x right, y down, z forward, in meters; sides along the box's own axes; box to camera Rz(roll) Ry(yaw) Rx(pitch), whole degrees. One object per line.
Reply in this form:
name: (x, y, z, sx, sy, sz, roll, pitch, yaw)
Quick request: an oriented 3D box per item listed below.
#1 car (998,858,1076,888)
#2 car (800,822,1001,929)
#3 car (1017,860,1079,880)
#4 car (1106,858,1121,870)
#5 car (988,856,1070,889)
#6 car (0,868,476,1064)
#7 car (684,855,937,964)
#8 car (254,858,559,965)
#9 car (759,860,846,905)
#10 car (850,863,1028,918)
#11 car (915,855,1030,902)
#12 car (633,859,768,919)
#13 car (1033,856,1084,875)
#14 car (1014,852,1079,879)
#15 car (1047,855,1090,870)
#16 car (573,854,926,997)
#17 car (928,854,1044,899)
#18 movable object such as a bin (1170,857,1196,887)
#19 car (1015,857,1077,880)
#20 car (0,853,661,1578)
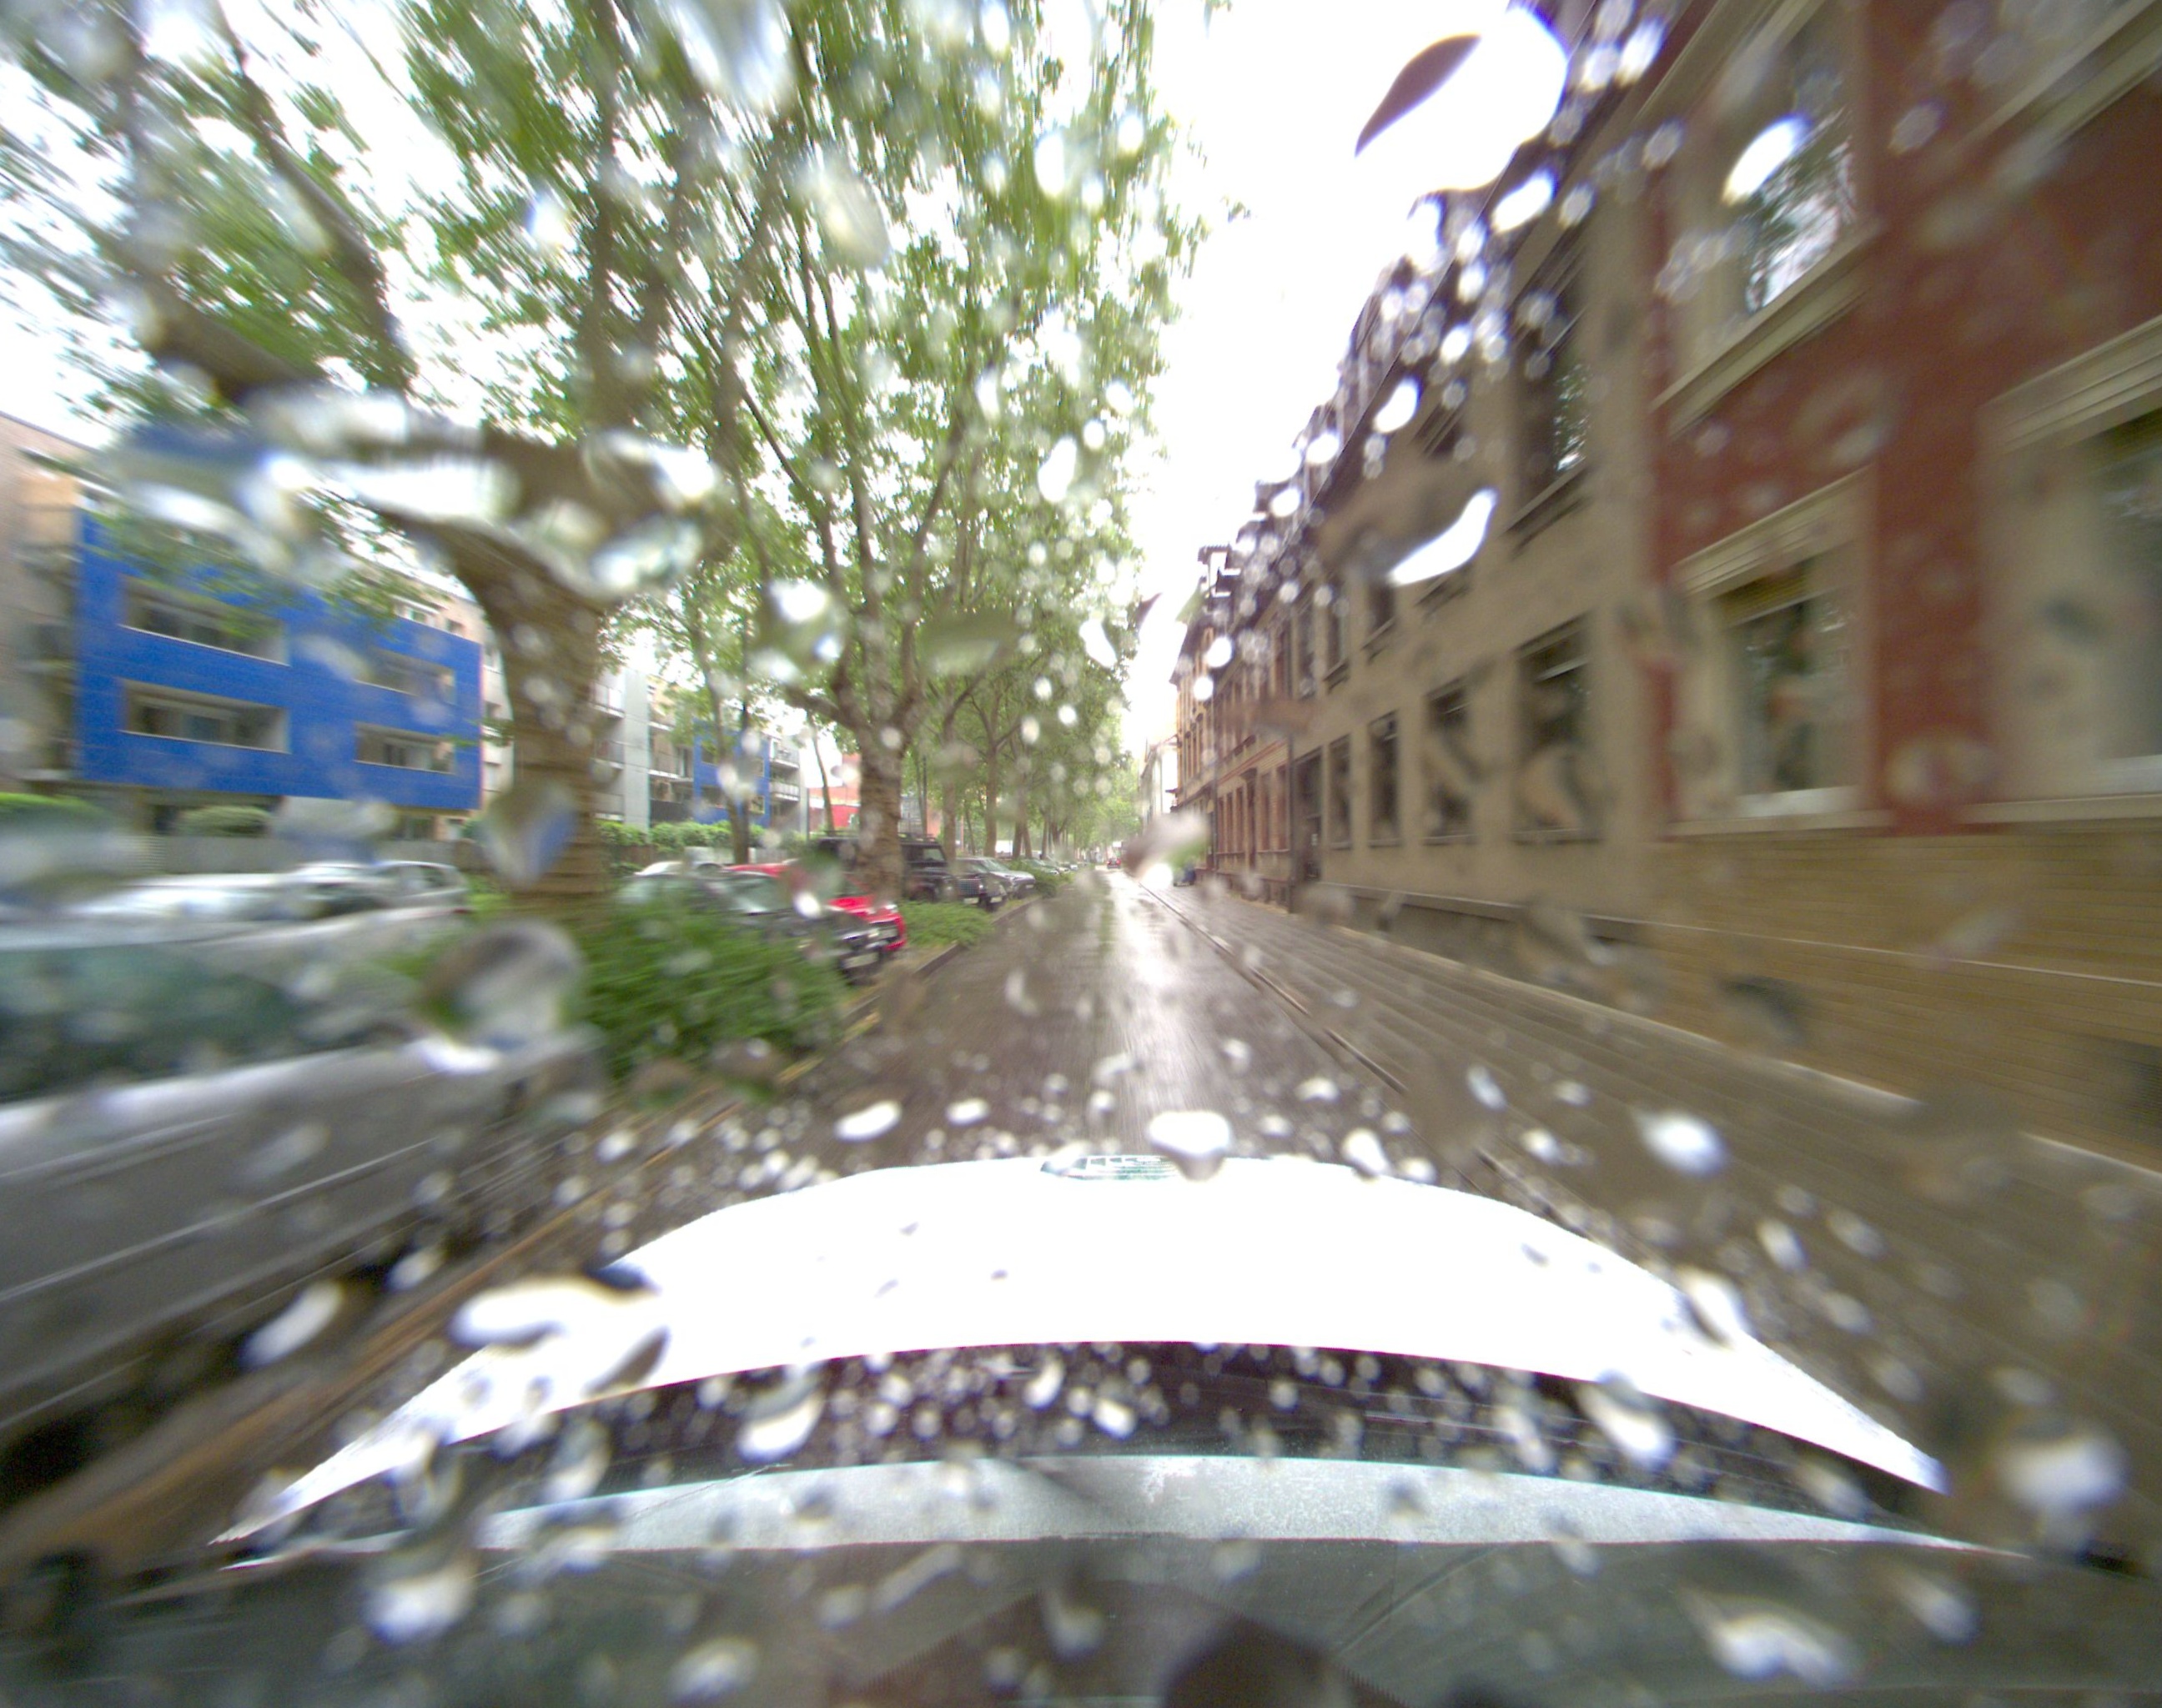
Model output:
car: (-2.690, 1.160, 49.697, 4.361, 1.660, 1.942, -2, 0, 29)
car: (-4.391, 0.505, 19.512, 4.599, 2.283, 2.025, -2, 0, 35)
car: (-2.460, 1.184, 60.886, 4.261, 1.437, 1.758, -1, 1, 28)
car: (4.429, 1.334, 110.337, 1.986, 1.640, 4.001, -1, 0, 1)
car: (-3.046, 1.083, 47.205, 4.360, 1.645, 1.884, -4, -1, 33)
car: (-8.536, 0.899, 8.205, 1.827, 1.420, 4.000, -1, 0, 0)
car: (-4.203, 0.821, 12.631, 3.458, 1.436, 1.792, -2, 0, 29)
car: (-11.682, 0.888, 14.586, 1.898, 1.534, 4.216, -1, 0, 0)
car: (-10.803, 1.070, 31.952, 1.898, 1.534, 4.216, -1, 0, 0)
car: (-3.924, 1.012, 22.341, 4.601, 1.325, 1.858, -2, 0, 29)
car: (-3.709, 0.836, 27.913, 3.469, 1.467, 1.651, -2, 0, 23)
car: (-11.210, 0.969, 24.376, 1.898, 1.534, 4.421, -1, 0, 0)
car: (-2.123, 1.088, 76.553, 4.502, 1.482, 1.786, -3, 0, 32)
car: (-2.923, 0.978, 68.132, 5.065, 1.977, 2.116, -3, 0, 32)
car: (-1.438, 0.936, 93.399, 4.416, 1.597, 1.935, -2, 0, 28)
car: (-4.125, 0.818, 10.078, 3.996, 1.434, 1.792, -2, 0, 26)
car: (-3.605, 0.833, 30.653, 4.013, 1.537, 1.847, -1, 1, 32)
movable object such as a bin: (4.973, 0.861, 39.810, 1.017, 1.301, 1.367, -5, 1, 1)
car: (-2.480, 1.024, 57.862, 4.019, 1.499, 1.758, -1, 1, 25)
car: (-3.133, 0.774, 2.163, 1.723, 1.514, 4.209, -1, 0, 2)
